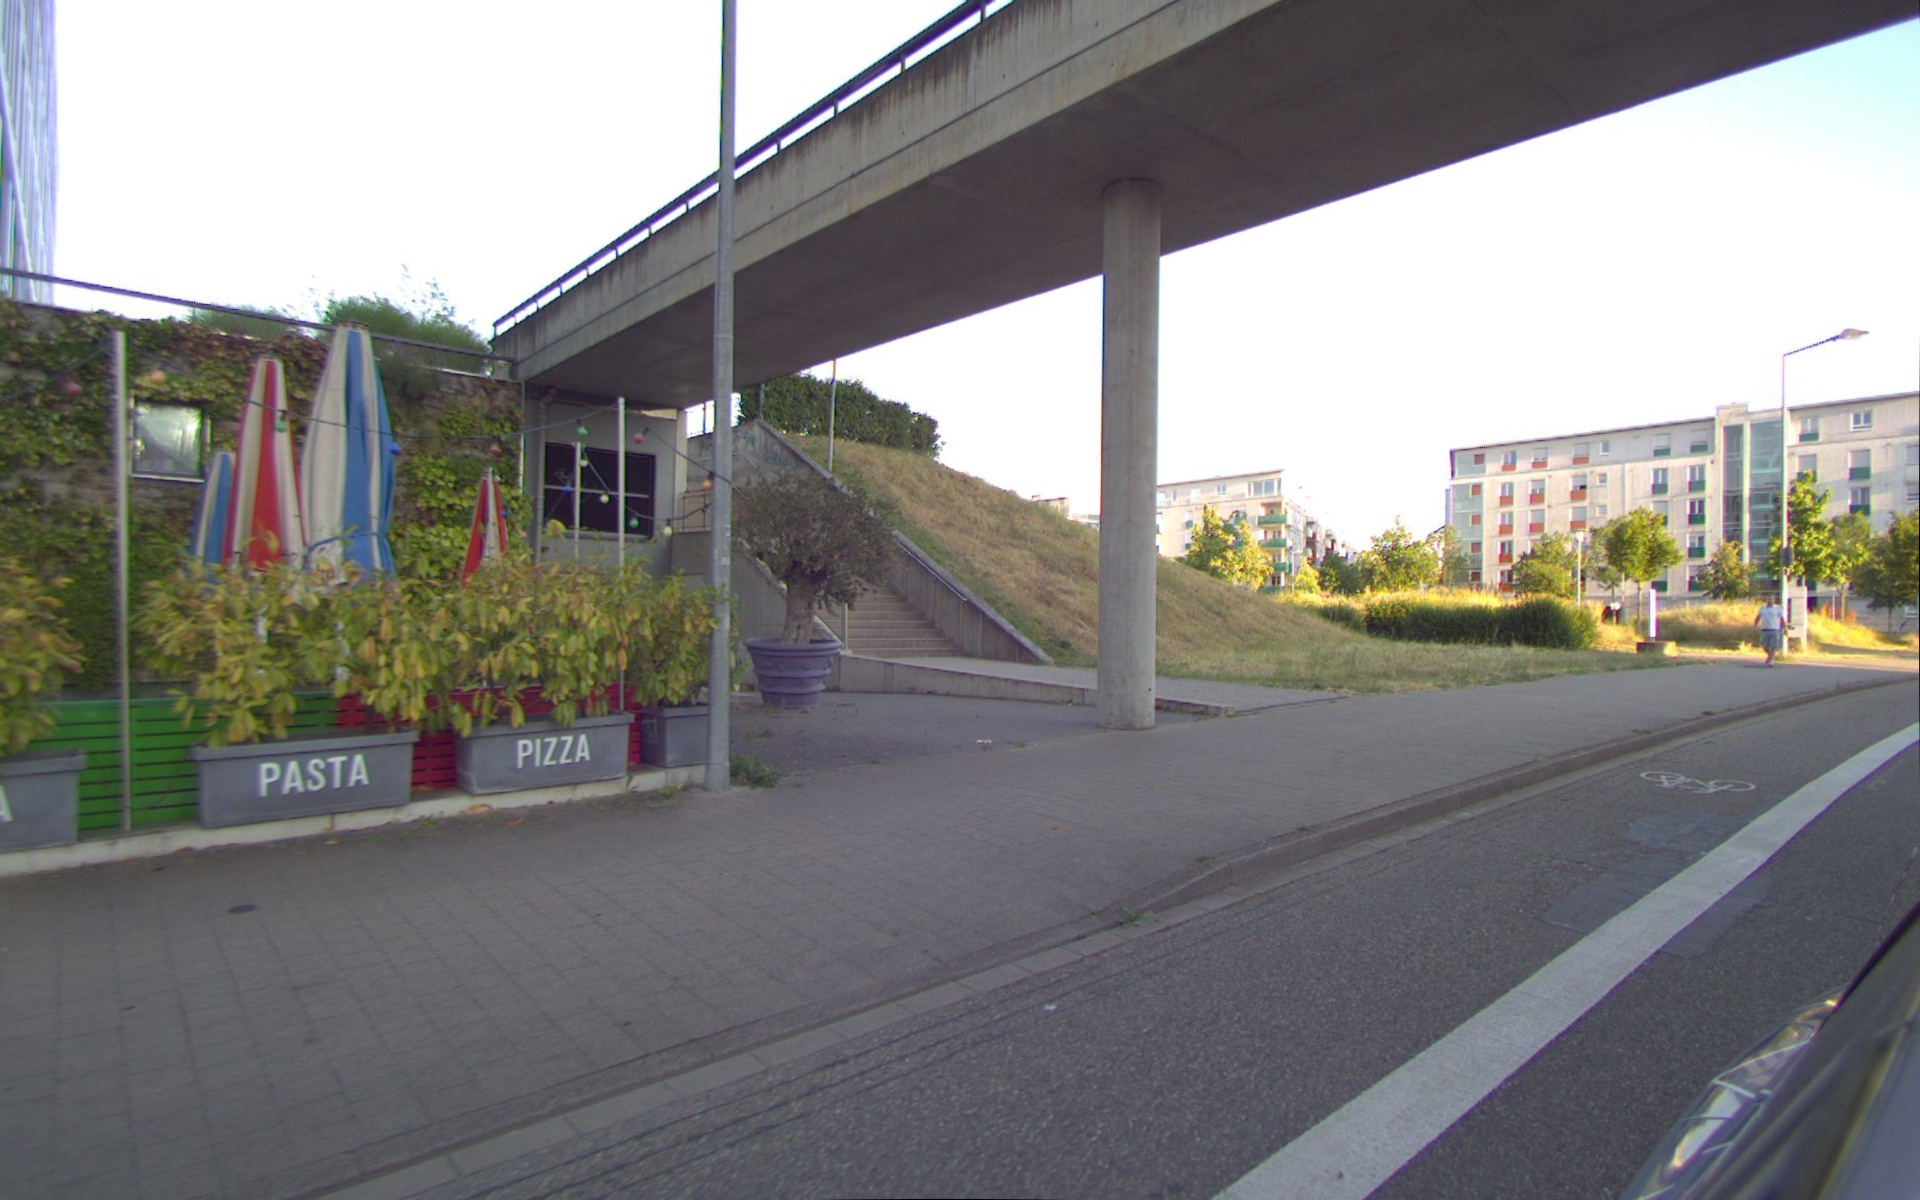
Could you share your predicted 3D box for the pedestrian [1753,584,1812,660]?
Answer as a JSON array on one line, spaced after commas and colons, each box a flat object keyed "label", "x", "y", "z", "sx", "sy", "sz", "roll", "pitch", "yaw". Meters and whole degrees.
[{"label": "pedestrian", "x": 20.124, "y": 0.522, "z": 24.770, "sx": 0.802, "sy": 1.788, "sz": 0.835, "roll": 1, "pitch": 2, "yaw": -33}]
